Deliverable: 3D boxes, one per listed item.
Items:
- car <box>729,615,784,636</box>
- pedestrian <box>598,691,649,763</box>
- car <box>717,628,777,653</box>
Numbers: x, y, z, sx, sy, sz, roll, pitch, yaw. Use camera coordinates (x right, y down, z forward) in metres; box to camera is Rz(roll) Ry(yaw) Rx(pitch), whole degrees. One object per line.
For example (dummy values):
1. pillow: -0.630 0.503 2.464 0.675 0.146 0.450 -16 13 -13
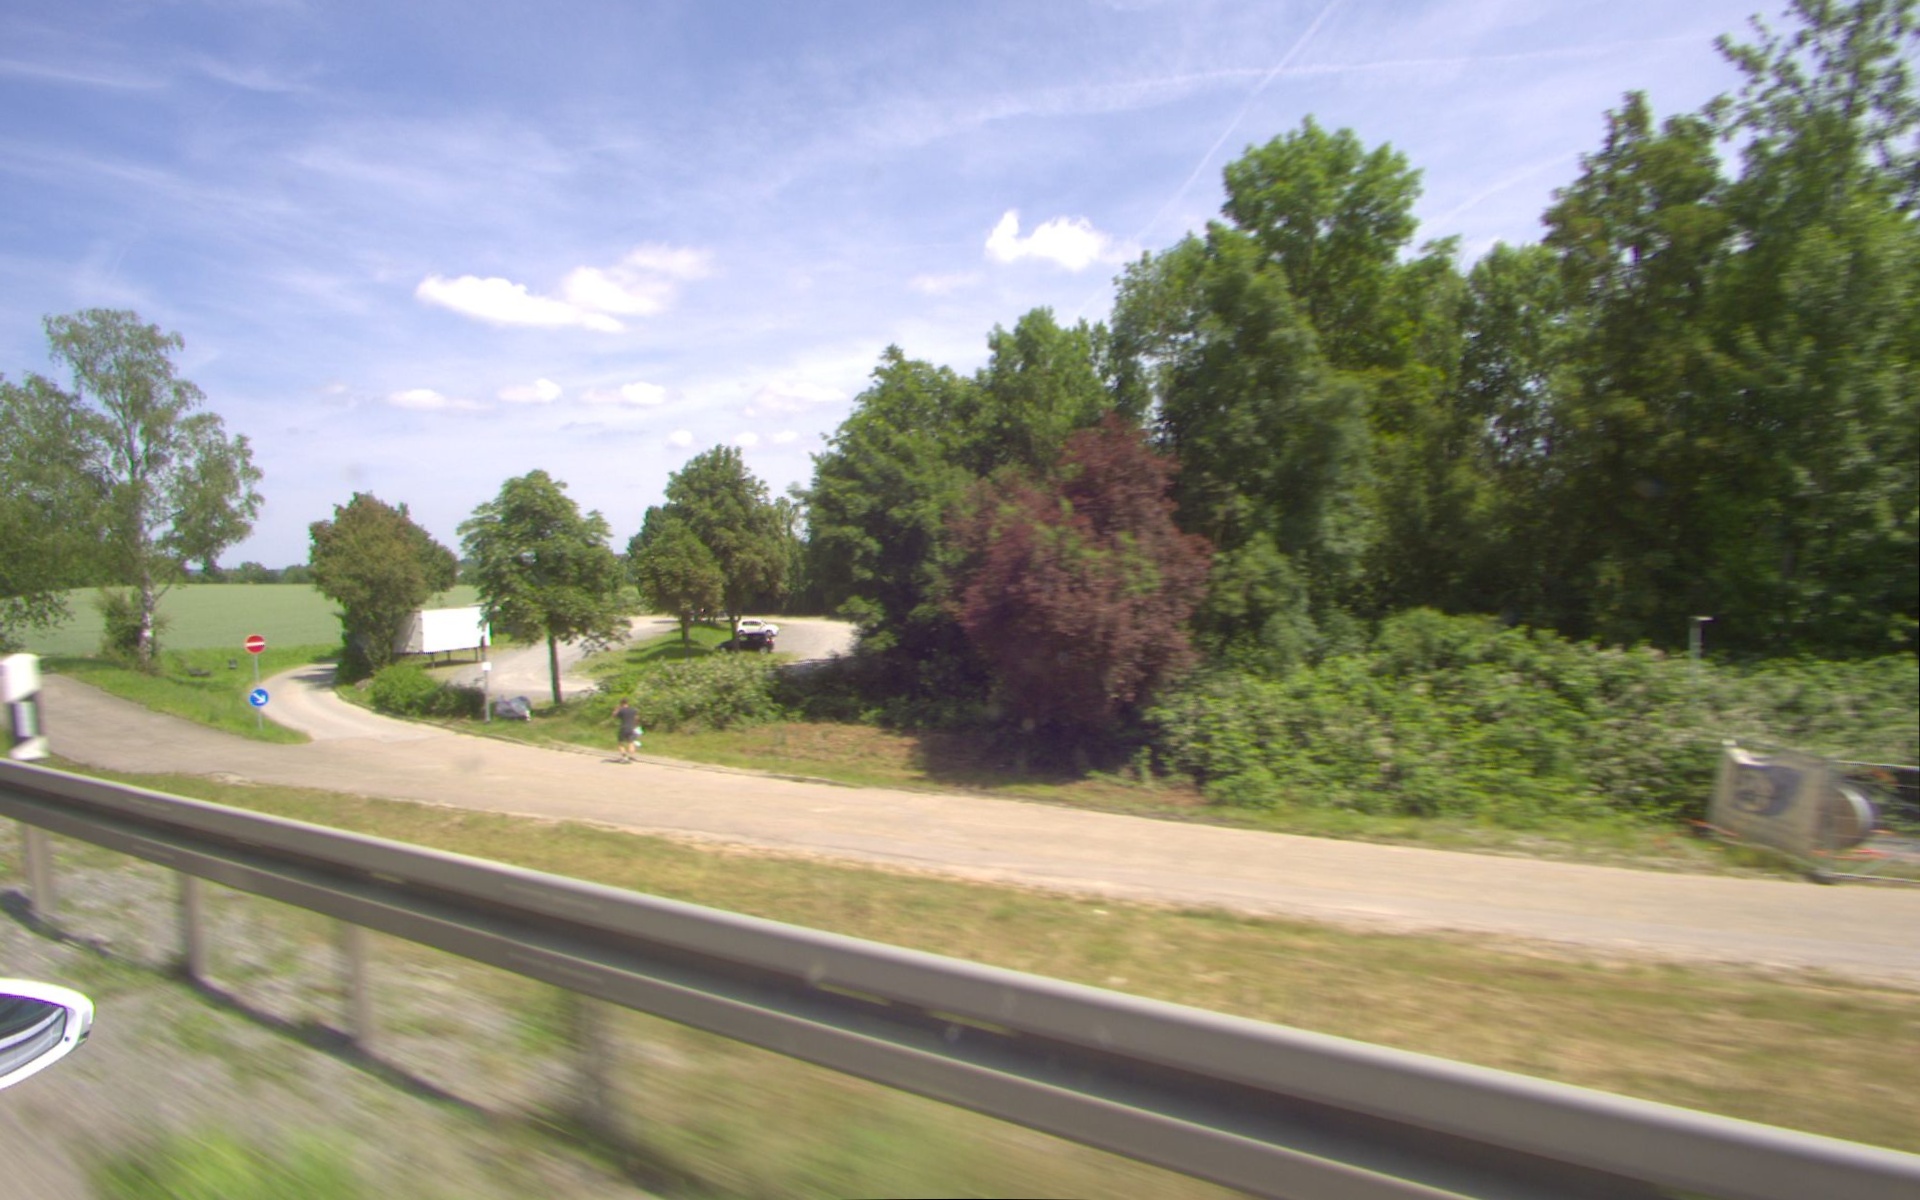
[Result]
1. car: -17.434 2.138 85.944 4.259 1.681 1.999 0 2 2
2. pedestrian: -9.343 3.504 27.826 0.945 1.836 0.882 0 3 32
3. car: -14.243 2.710 67.075 3.624 1.512 1.693 0 2 0
